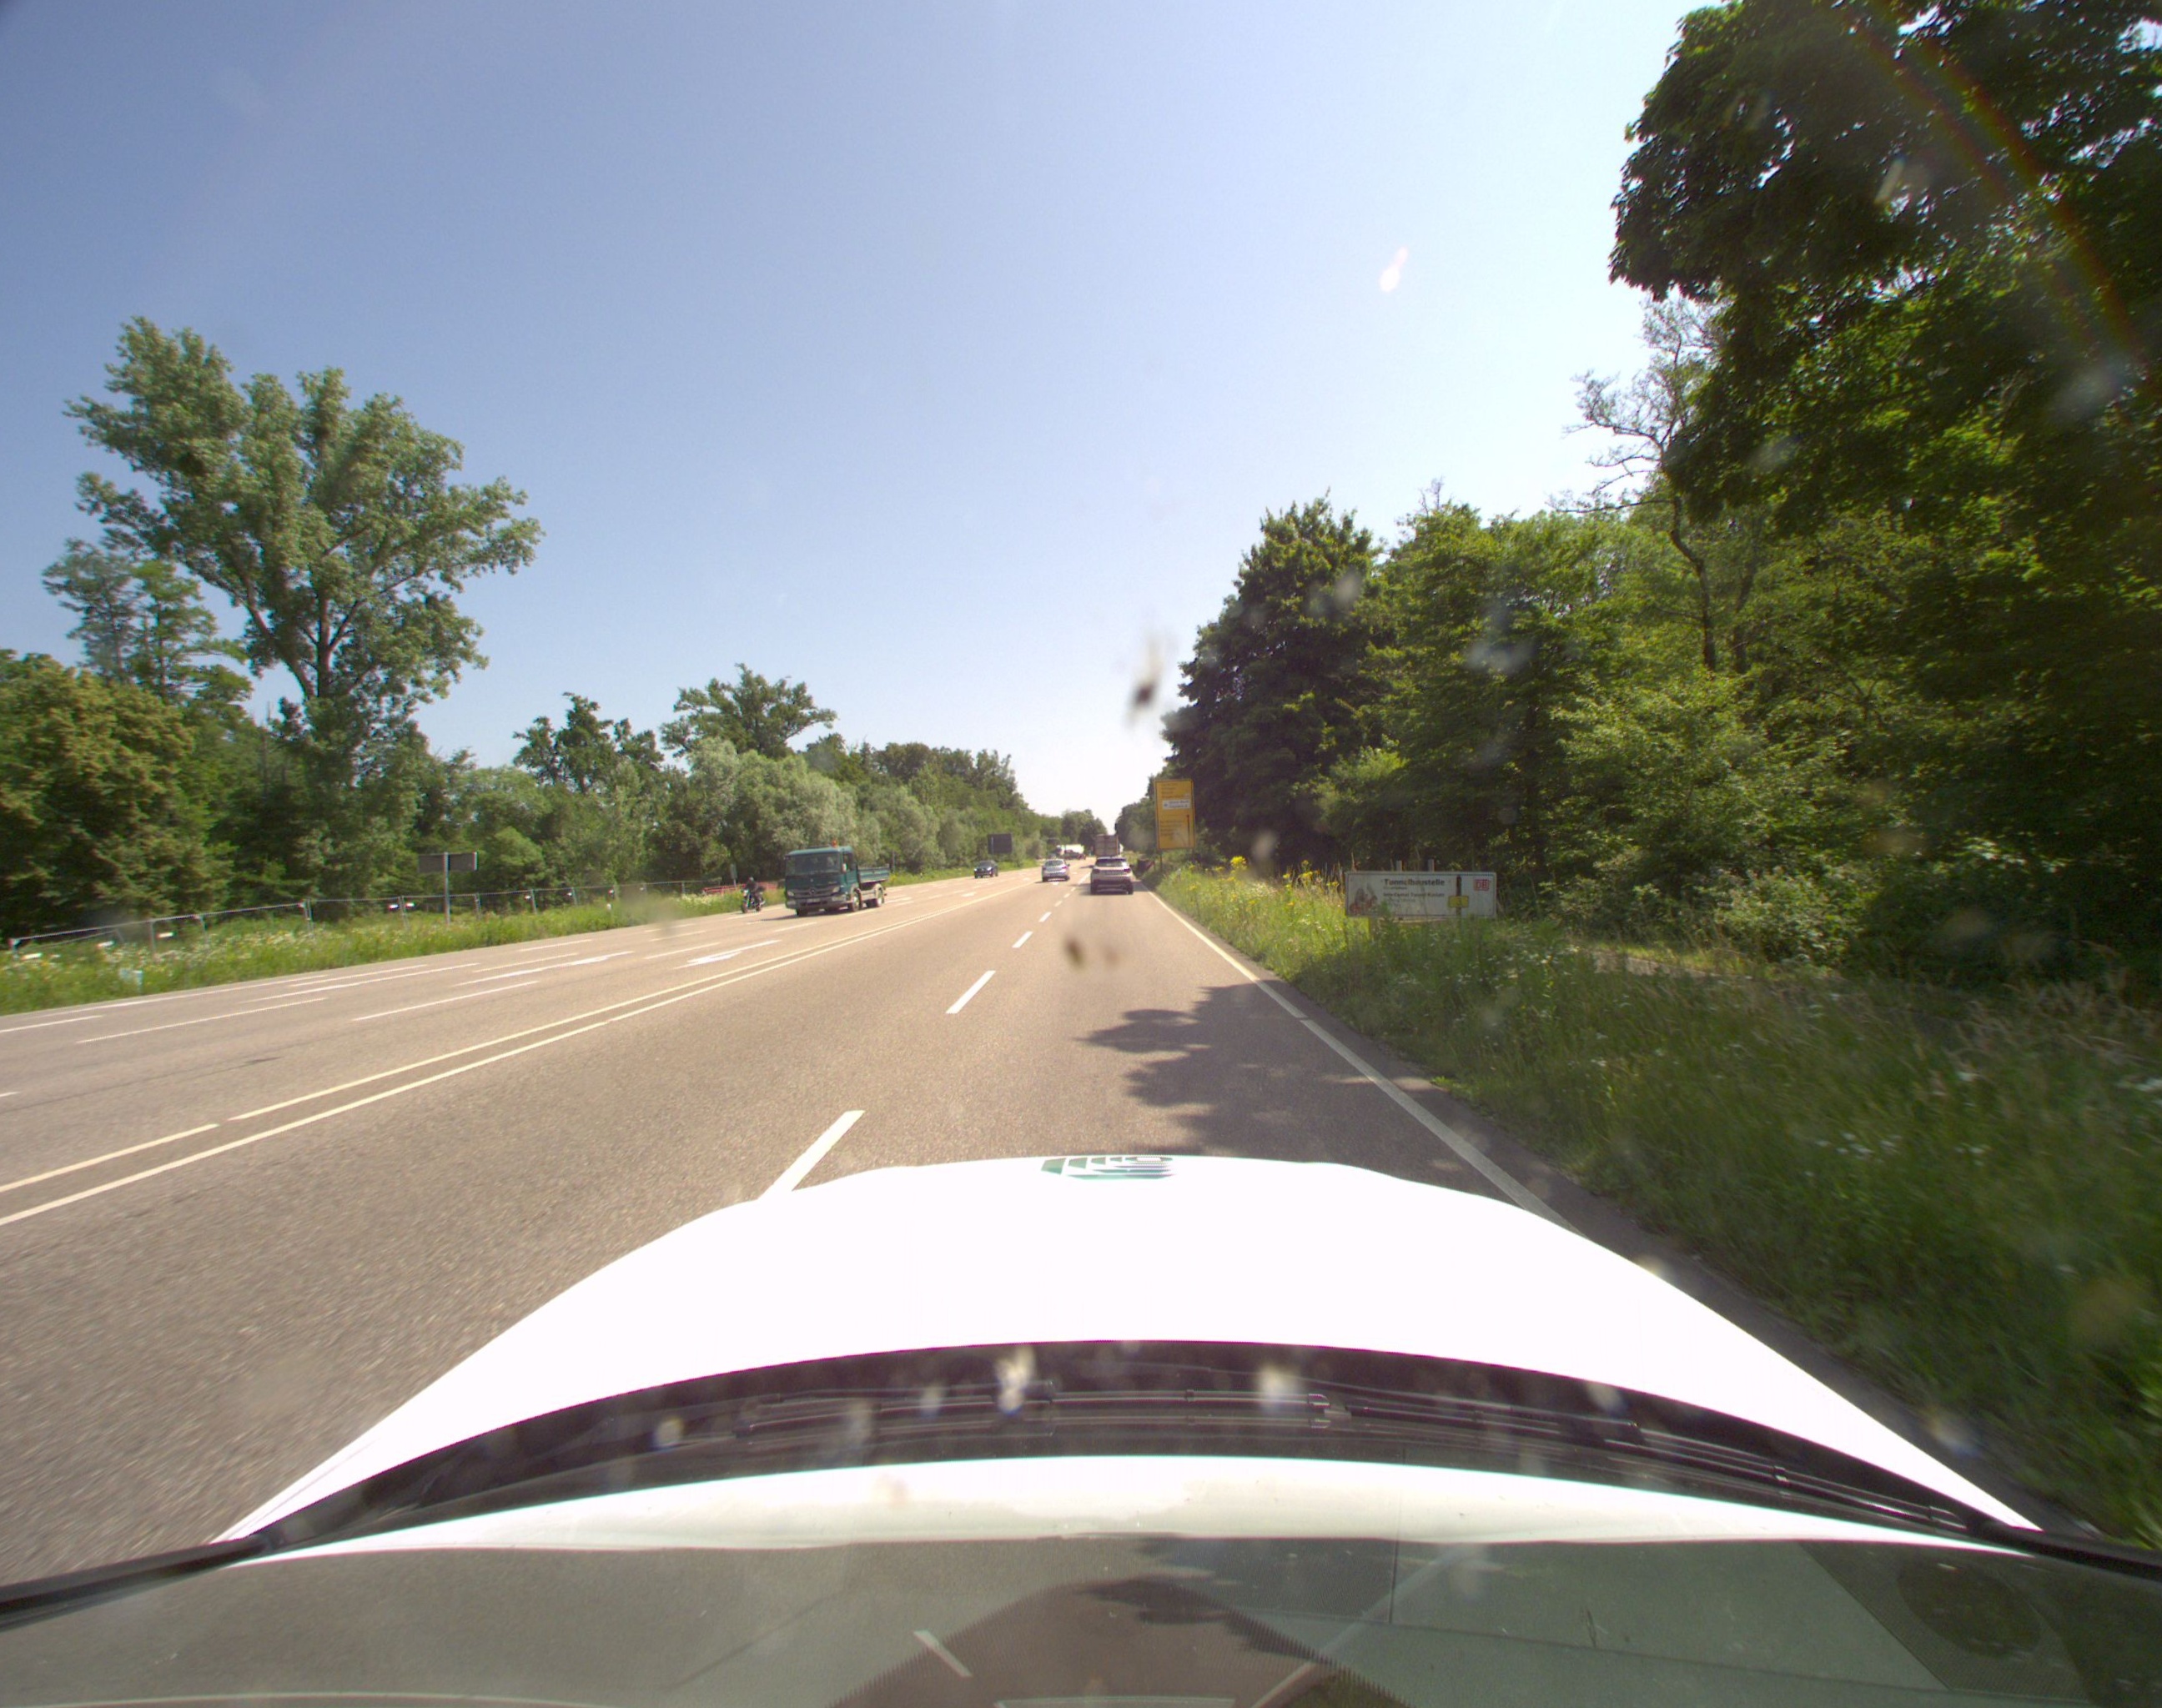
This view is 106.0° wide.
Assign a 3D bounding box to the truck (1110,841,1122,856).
[{"bbox_3d":[10.681,-1.702,248.088,3.484,4.187,10.787,-2,-1,2],"label":"truck"}]

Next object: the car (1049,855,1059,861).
[{"bbox_3d":[-7.683,1.110,231.846,1.995,1.585,3.984,-1,-1,-12],"label":"car"}]

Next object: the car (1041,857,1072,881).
[{"bbox_3d":[-1.559,0.941,53.158,1.659,1.430,3.831,-2,0,3],"label":"car"}]

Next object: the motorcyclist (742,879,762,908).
[{"bbox_3d":[-15.873,1.906,39.253,0.575,1.353,0.754,-4,-1,0],"label":"motorcyclist"}]

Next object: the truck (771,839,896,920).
[{"bbox_3d":[-9.523,0.890,32.175,2.444,2.656,6.495,-5,0,3],"label":"truck"}]

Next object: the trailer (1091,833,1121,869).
[{"bbox_3d":[3.125,-0.321,99.110,3.369,3.989,10.811,-2,-1,3],"label":"trailer"}]

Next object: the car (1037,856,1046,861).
[{"bbox_3d":[-11.802,1.341,243.567,1.995,1.585,3.984,-1,-1,-12],"label":"car"}]

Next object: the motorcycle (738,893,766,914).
[{"bbox_3d":[-15.819,2.386,39.250,0.515,0.893,1.910,-4,-1,0],"label":"motorcycle"}]

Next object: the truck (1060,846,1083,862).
[{"bbox_3d":[-2.508,0.033,210.213,3.651,4.105,9.463,-1,-1,-14],"label":"truck"}]

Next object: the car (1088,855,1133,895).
[{"bbox_3d":[1.298,0.838,34.619,1.760,1.535,4.003,-2,0,3],"label":"car"}]

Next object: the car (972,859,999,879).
[{"bbox_3d":[-10.093,1.592,86.459,1.986,1.881,4.961,-4,0,2],"label":"car"}]

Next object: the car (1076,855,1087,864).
[{"bbox_3d":[0.102,1.250,194.257,1.993,2.013,4.539,-4,0,-9],"label":"car"}]
